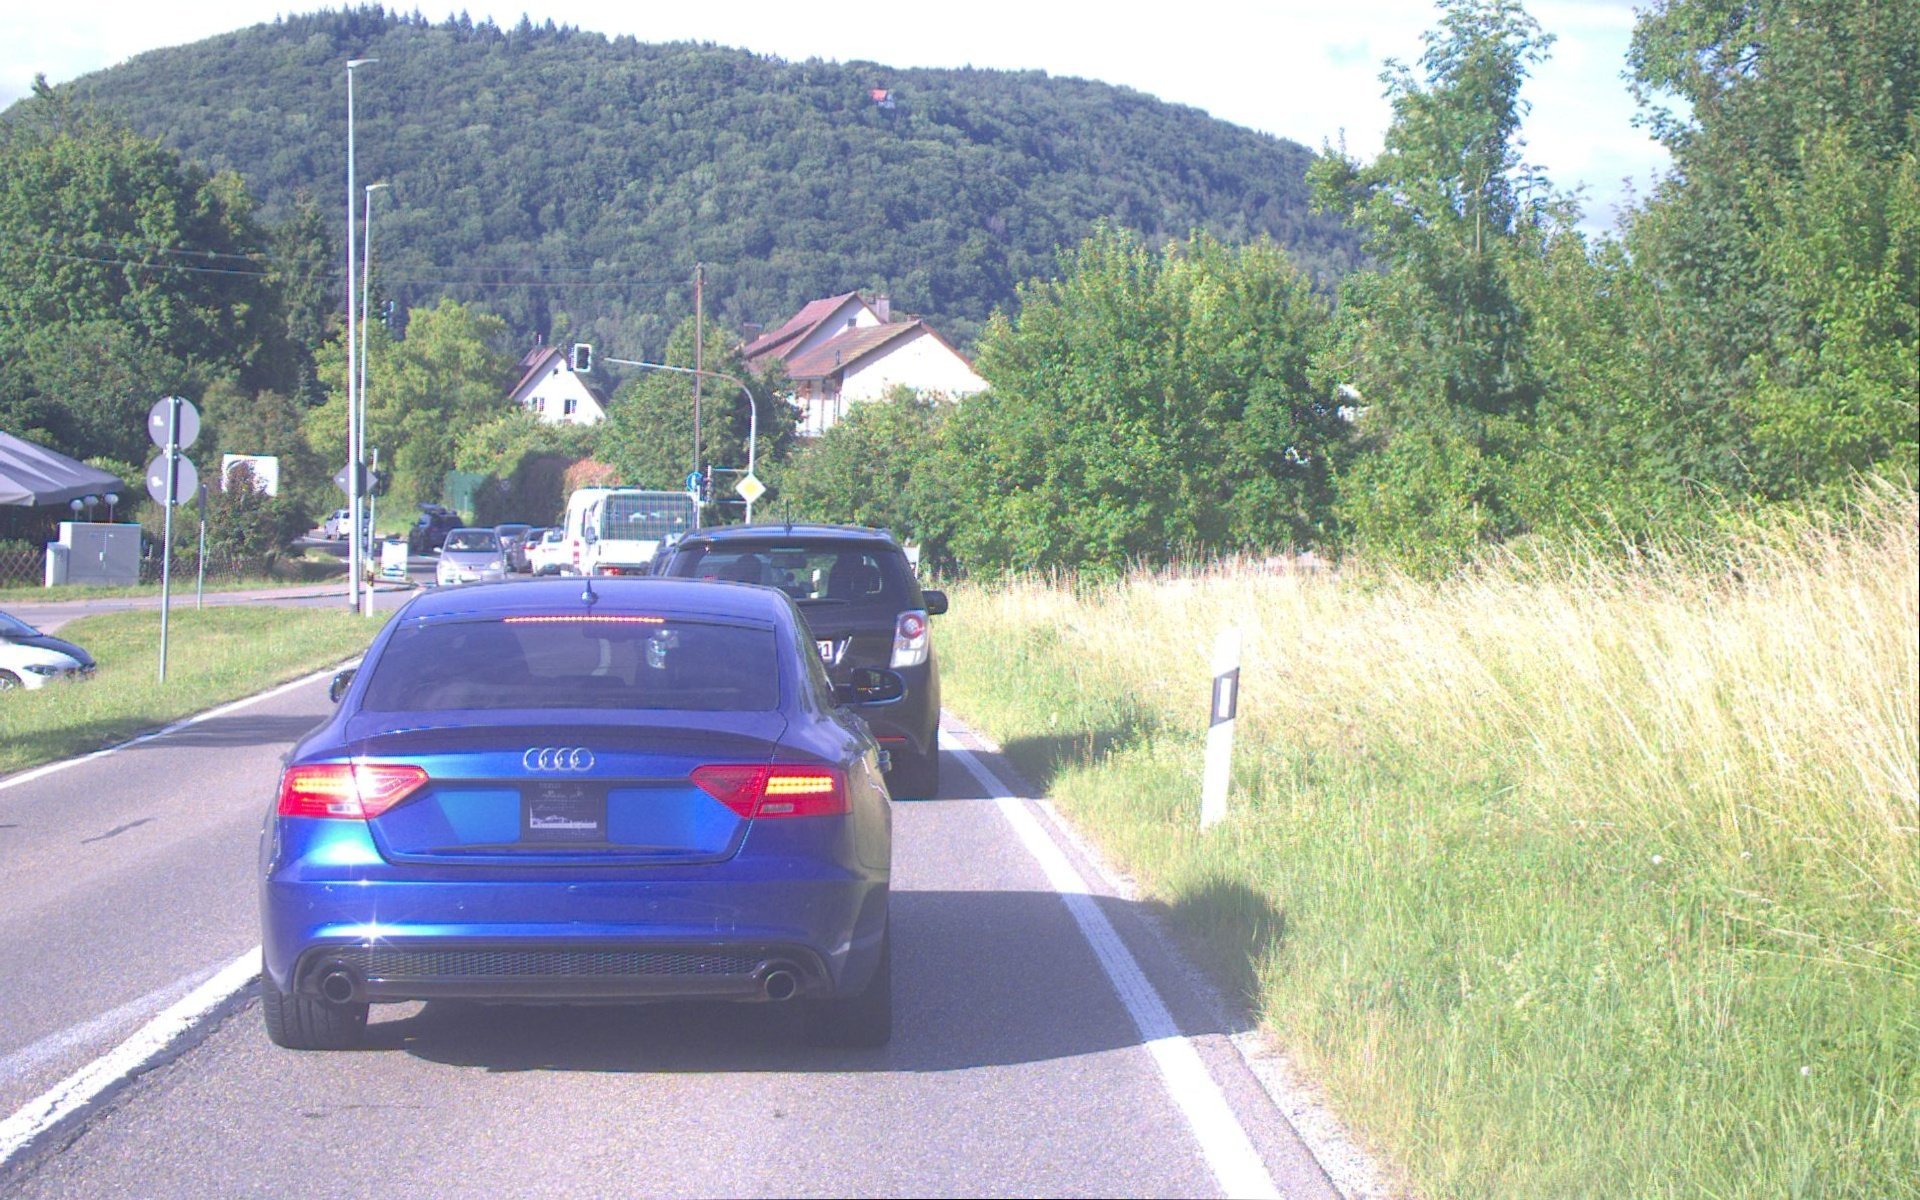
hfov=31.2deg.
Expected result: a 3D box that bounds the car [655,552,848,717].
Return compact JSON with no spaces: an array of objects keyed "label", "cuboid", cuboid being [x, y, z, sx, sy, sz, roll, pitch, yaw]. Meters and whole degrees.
[{"label":"car","cuboid":[-2.173,0.334,36.855,1.804,1.634,4.463,1,0,0]}]

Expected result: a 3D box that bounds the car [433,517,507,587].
[{"label":"car","cuboid":[-12.030,-1.159,84.359,1.734,1.656,3.472,1,0,-8]}]

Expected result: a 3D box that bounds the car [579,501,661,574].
[{"label":"car","cuboid":[-7.980,-1.438,80.486,1.745,1.634,4.001,1,0,-8]}]

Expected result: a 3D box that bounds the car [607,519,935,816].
[{"label":"car","cuboid":[-1.070,0.361,21.169,1.746,1.634,4.000,1,0,0]}]

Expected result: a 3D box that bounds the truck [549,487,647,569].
[{"label":"truck","cuboid":[-9.053,-1.773,85.642,1.697,1.947,5.924,1,0,-13]}]

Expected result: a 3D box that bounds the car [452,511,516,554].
[{"label":"car","cuboid":[-16.759,-2.364,120.903,1.697,1.485,3.528,1,0,-17]}]

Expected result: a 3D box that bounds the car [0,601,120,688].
[{"label":"car","cuboid":[-15.511,0.679,54.299,3.987,1.306,1.760,1,0,4]}]

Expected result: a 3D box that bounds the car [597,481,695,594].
[{"label":"car","cuboid":[-6.335,-1.238,69.022,1.745,2.188,4.001,1,0,-8]}]

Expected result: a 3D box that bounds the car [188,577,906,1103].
[{"label":"car","cuboid":[-1.120,0.619,11.058,1.795,1.383,4.000,0,0,1]}]

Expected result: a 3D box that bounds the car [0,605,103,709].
[{"label":"car","cuboid":[-15.557,0.812,51.685,4.815,1.488,1.880,1,0,8]}]
